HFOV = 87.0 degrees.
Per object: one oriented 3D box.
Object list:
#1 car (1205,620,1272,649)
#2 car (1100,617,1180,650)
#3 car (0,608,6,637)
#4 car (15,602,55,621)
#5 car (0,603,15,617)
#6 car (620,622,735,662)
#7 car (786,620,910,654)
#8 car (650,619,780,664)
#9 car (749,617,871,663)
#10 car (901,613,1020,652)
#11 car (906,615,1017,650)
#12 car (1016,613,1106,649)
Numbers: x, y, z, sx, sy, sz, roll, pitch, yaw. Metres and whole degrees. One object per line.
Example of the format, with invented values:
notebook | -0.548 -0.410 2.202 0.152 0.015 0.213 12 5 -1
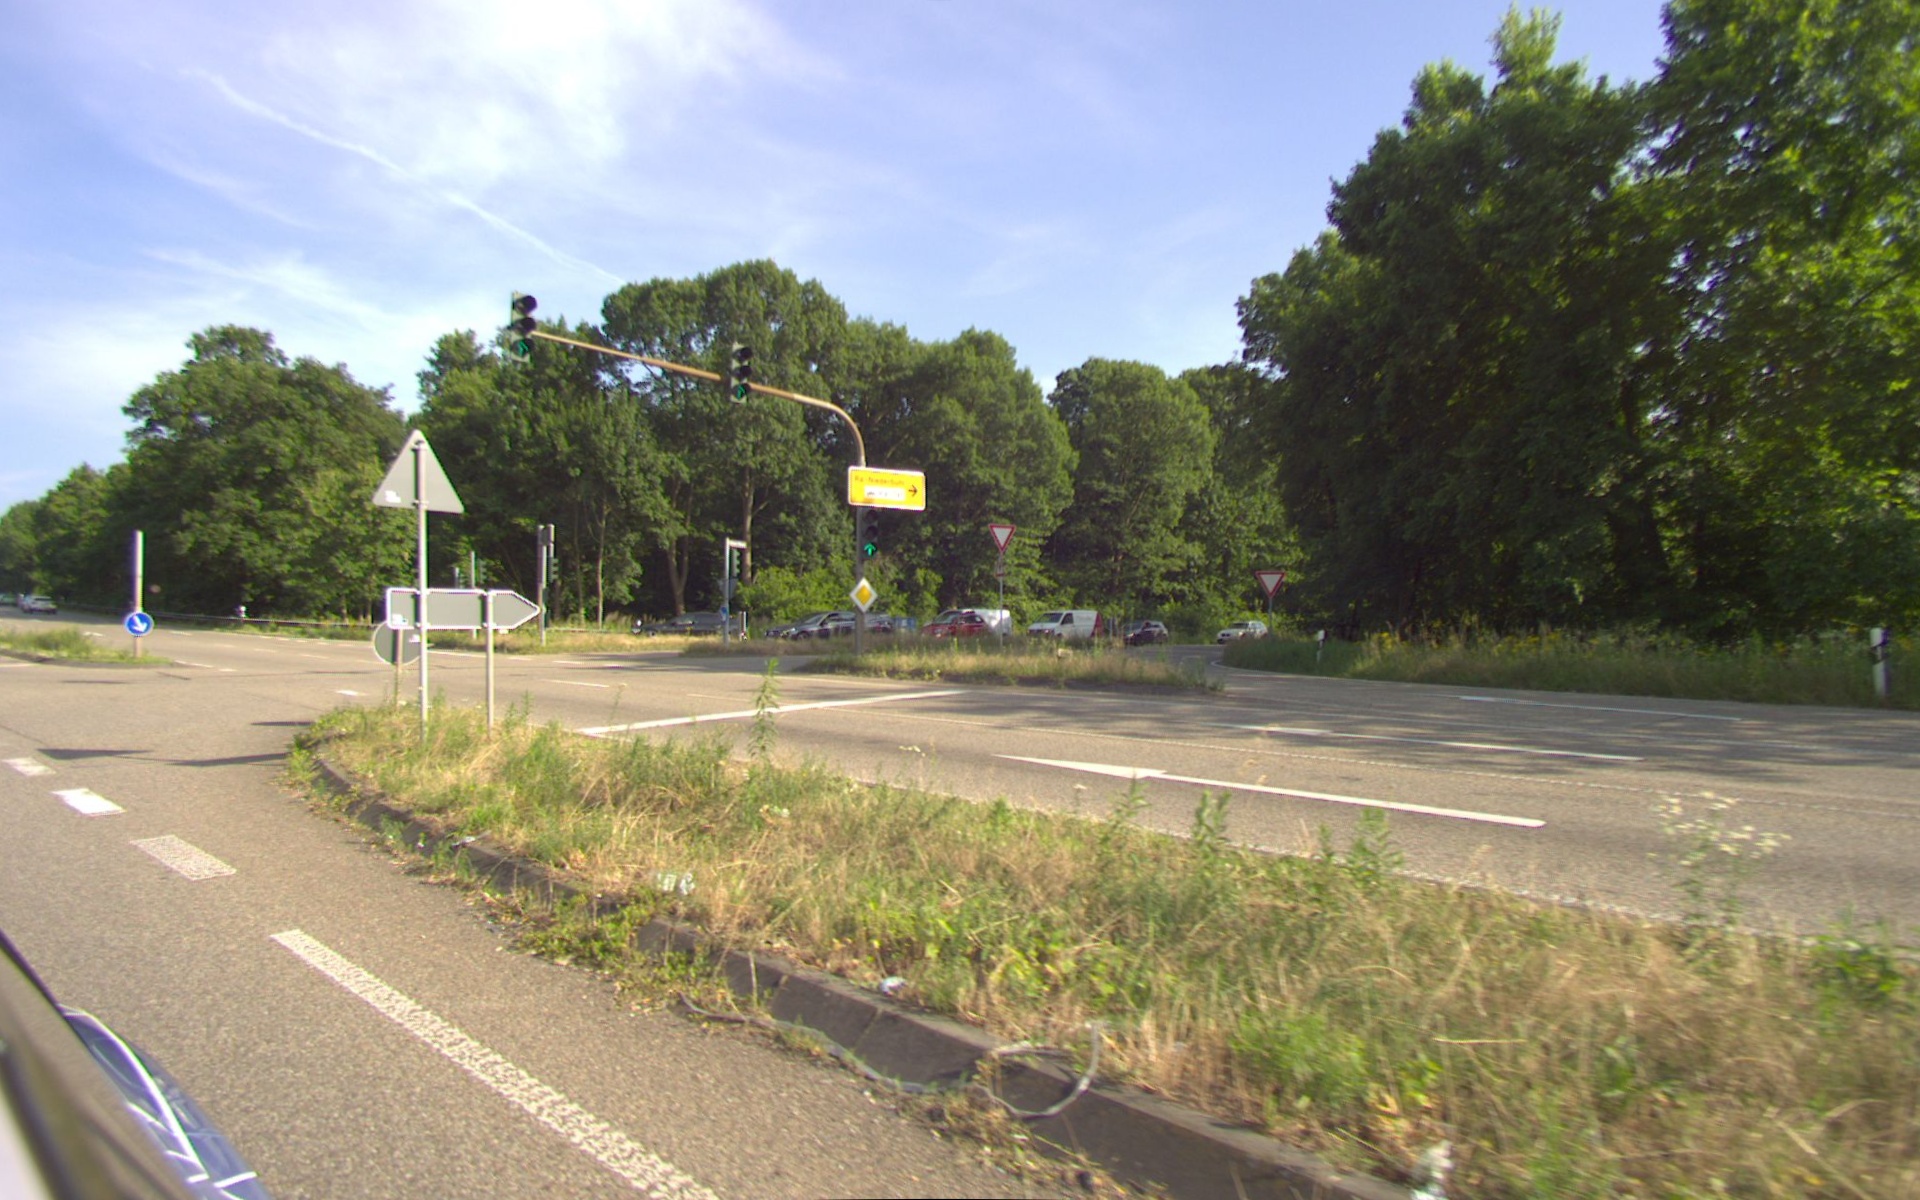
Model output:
car | 18.219 2.234 66.115 4.581 1.740 2.137 0 0 -42
car | 10.336 1.866 57.908 4.581 1.740 2.137 0 0 -42
car | -60.345 1.345 62.095 4.752 1.777 2.055 0 -3 40
car | -78.526 0.969 85.889 4.260 1.515 1.865 0 -3 40
car | -110.661 1.183 116.962 3.975 1.515 1.698 0 -3 41
car | -11.768 1.703 42.148 4.483 1.501 2.006 0 0 -19
car | -4.961 1.619 45.234 5.116 1.353 2.059 0 0 -30
car | -9.229 1.512 38.246 4.353 1.501 2.003 0 0 -41
car | -5.550 1.434 37.827 1.997 1.501 4.365 0 0 38
car | 0.070 1.341 43.116 4.913 1.501 2.210 0 0 -43
car | 0.098 1.501 48.587 4.993 1.501 2.450 0 0 -42
car | 5.326 1.599 53.061 4.581 1.740 2.195 0 0 -42
